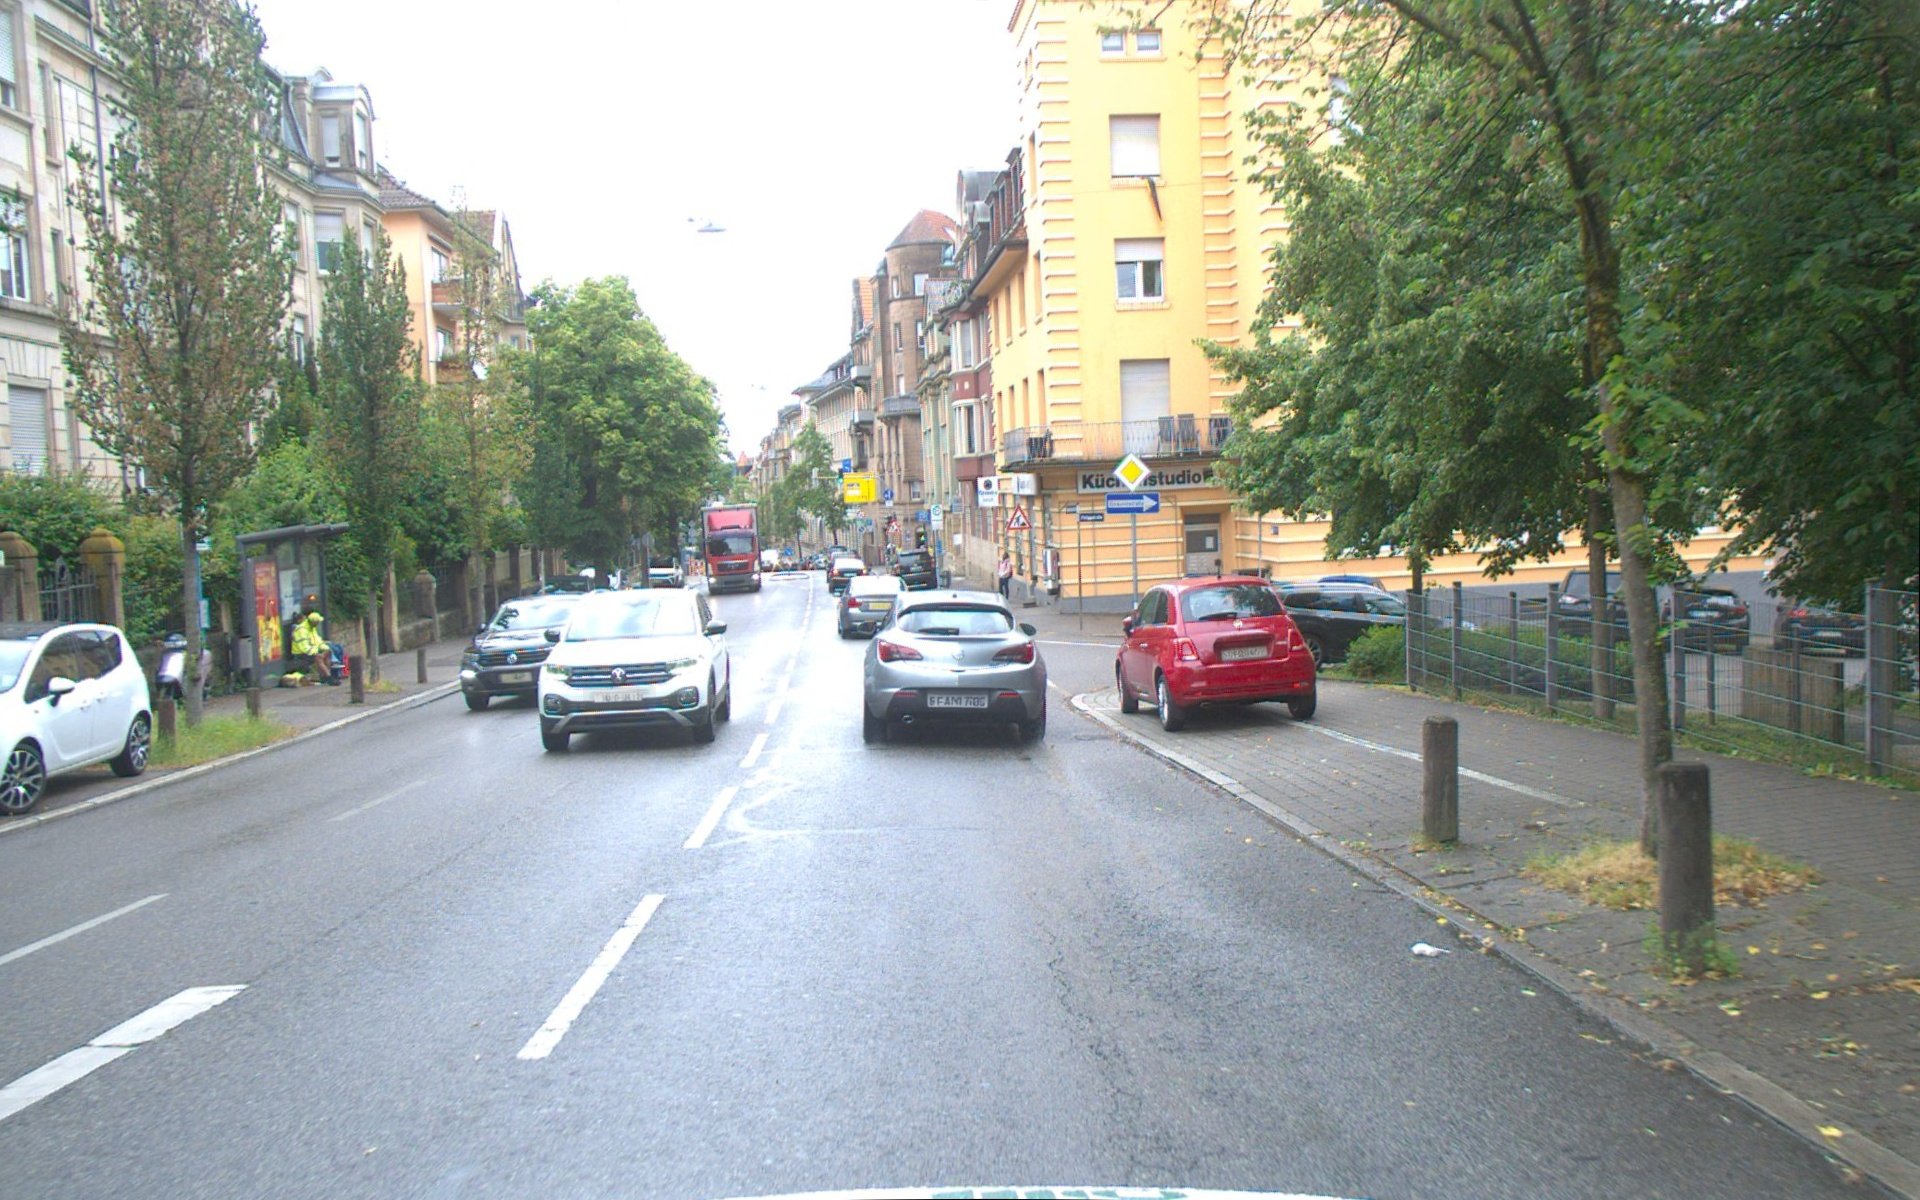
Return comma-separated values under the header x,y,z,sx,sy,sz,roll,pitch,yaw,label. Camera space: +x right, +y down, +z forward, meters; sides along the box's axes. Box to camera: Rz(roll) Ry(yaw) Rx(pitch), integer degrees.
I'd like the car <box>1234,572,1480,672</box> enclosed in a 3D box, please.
x,y,z,sx,sy,sz,roll,pitch,yaw,label
6.771,0.384,28.423,3.700,1.455,1.780,3,-2,-5,car

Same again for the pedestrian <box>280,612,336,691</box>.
x,y,z,sx,sy,sz,roll,pitch,yaw,label
-11.800,0.926,29.946,0.693,1.366,0.613,-4,0,-2,pedestrian

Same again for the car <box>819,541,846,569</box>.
x,y,z,sx,sy,sz,roll,pitch,yaw,label
-7.926,-2.780,102.493,1.608,1.563,3.713,-1,0,-5,car

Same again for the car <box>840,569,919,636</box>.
x,y,z,sx,sy,sz,roll,pitch,yaw,label
-1.876,0.069,38.741,1.740,1.455,3.783,1,0,-3,car

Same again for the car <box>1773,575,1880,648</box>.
x,y,z,sx,sy,sz,roll,pitch,yaw,label
19.306,0.212,36.982,1.740,1.454,3.785,1,2,22,car

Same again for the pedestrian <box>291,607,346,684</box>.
x,y,z,sx,sy,sz,roll,pitch,yaw,label
-11.864,0.833,30.589,0.693,1.366,0.613,-4,0,-2,pedestrian

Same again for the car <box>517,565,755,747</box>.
x,y,z,sx,sy,sz,roll,pitch,yaw,label
-3.367,0.531,17.906,1.786,1.679,3.999,-2,0,-1,car

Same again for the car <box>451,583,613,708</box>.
x,y,z,sx,sy,sz,roll,pitch,yaw,label
-6.325,0.631,24.733,1.589,1.679,3.142,-2,0,-1,car

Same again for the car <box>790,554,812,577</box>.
x,y,z,sx,sy,sz,roll,pitch,yaw,label
-14.108,-3.006,146.585,1.748,1.887,3.993,0,-1,-8,car

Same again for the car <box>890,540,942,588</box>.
x,y,z,sx,sy,sz,roll,pitch,yaw,label
-1.882,-1.467,69.595,1.955,1.718,3.997,-6,0,-3,car

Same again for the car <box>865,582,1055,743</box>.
x,y,z,sx,sy,sz,roll,pitch,yaw,label
-0.077,0.562,17.483,1.778,1.454,3.998,0,1,-2,car

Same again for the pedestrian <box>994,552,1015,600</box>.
x,y,z,sx,sy,sz,roll,pitch,yaw,label
1.419,-0.773,52.759,0.600,1.522,0.552,-1,2,-2,pedestrian

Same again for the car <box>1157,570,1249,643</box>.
x,y,z,sx,sy,sz,roll,pitch,yaw,label
5.280,0.093,35.624,1.738,1.454,3.789,1,1,12,car

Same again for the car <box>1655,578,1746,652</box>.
x,y,z,sx,sy,sz,roll,pitch,yaw,label
16.522,0.291,37.029,1.740,1.454,3.785,1,2,22,car

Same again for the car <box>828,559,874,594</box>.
x,y,z,sx,sy,sz,roll,pitch,yaw,label
-4.555,-0.963,68.743,1.734,1.439,3.711,0,0,-7,car

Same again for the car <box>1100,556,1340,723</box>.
x,y,z,sx,sy,sz,roll,pitch,yaw,label
2.758,0.417,18.455,1.779,1.493,3.998,-5,-1,-2,car

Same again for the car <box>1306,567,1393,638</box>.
x,y,z,sx,sy,sz,roll,pitch,yaw,label
8.743,0.012,36.988,1.738,1.454,3.789,1,2,15,car

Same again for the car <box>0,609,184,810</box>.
x,y,z,sx,sy,sz,roll,pitch,yaw,label
-9.150,1.000,15.747,1.753,1.680,4.191,-4,0,-5,car

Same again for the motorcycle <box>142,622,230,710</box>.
x,y,z,sx,sy,sz,roll,pitch,yaw,label
-11.751,0.981,25.165,0.548,1.259,1.644,-2,-1,-1,motorcycle

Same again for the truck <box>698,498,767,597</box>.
x,y,z,sx,sy,sz,roll,pitch,yaw,label
-10.443,-2.512,76.863,2.735,4.203,10.840,-1,3,-6,truck

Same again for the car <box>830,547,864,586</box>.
x,y,z,sx,sy,sz,roll,pitch,yaw,label
-5.621,-1.661,81.878,1.608,1.718,3.715,-1,4,-5,car

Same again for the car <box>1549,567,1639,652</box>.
x,y,z,sx,sy,sz,roll,pitch,yaw,label
13.877,0.157,36.263,1.739,1.695,3.787,1,2,21,car
